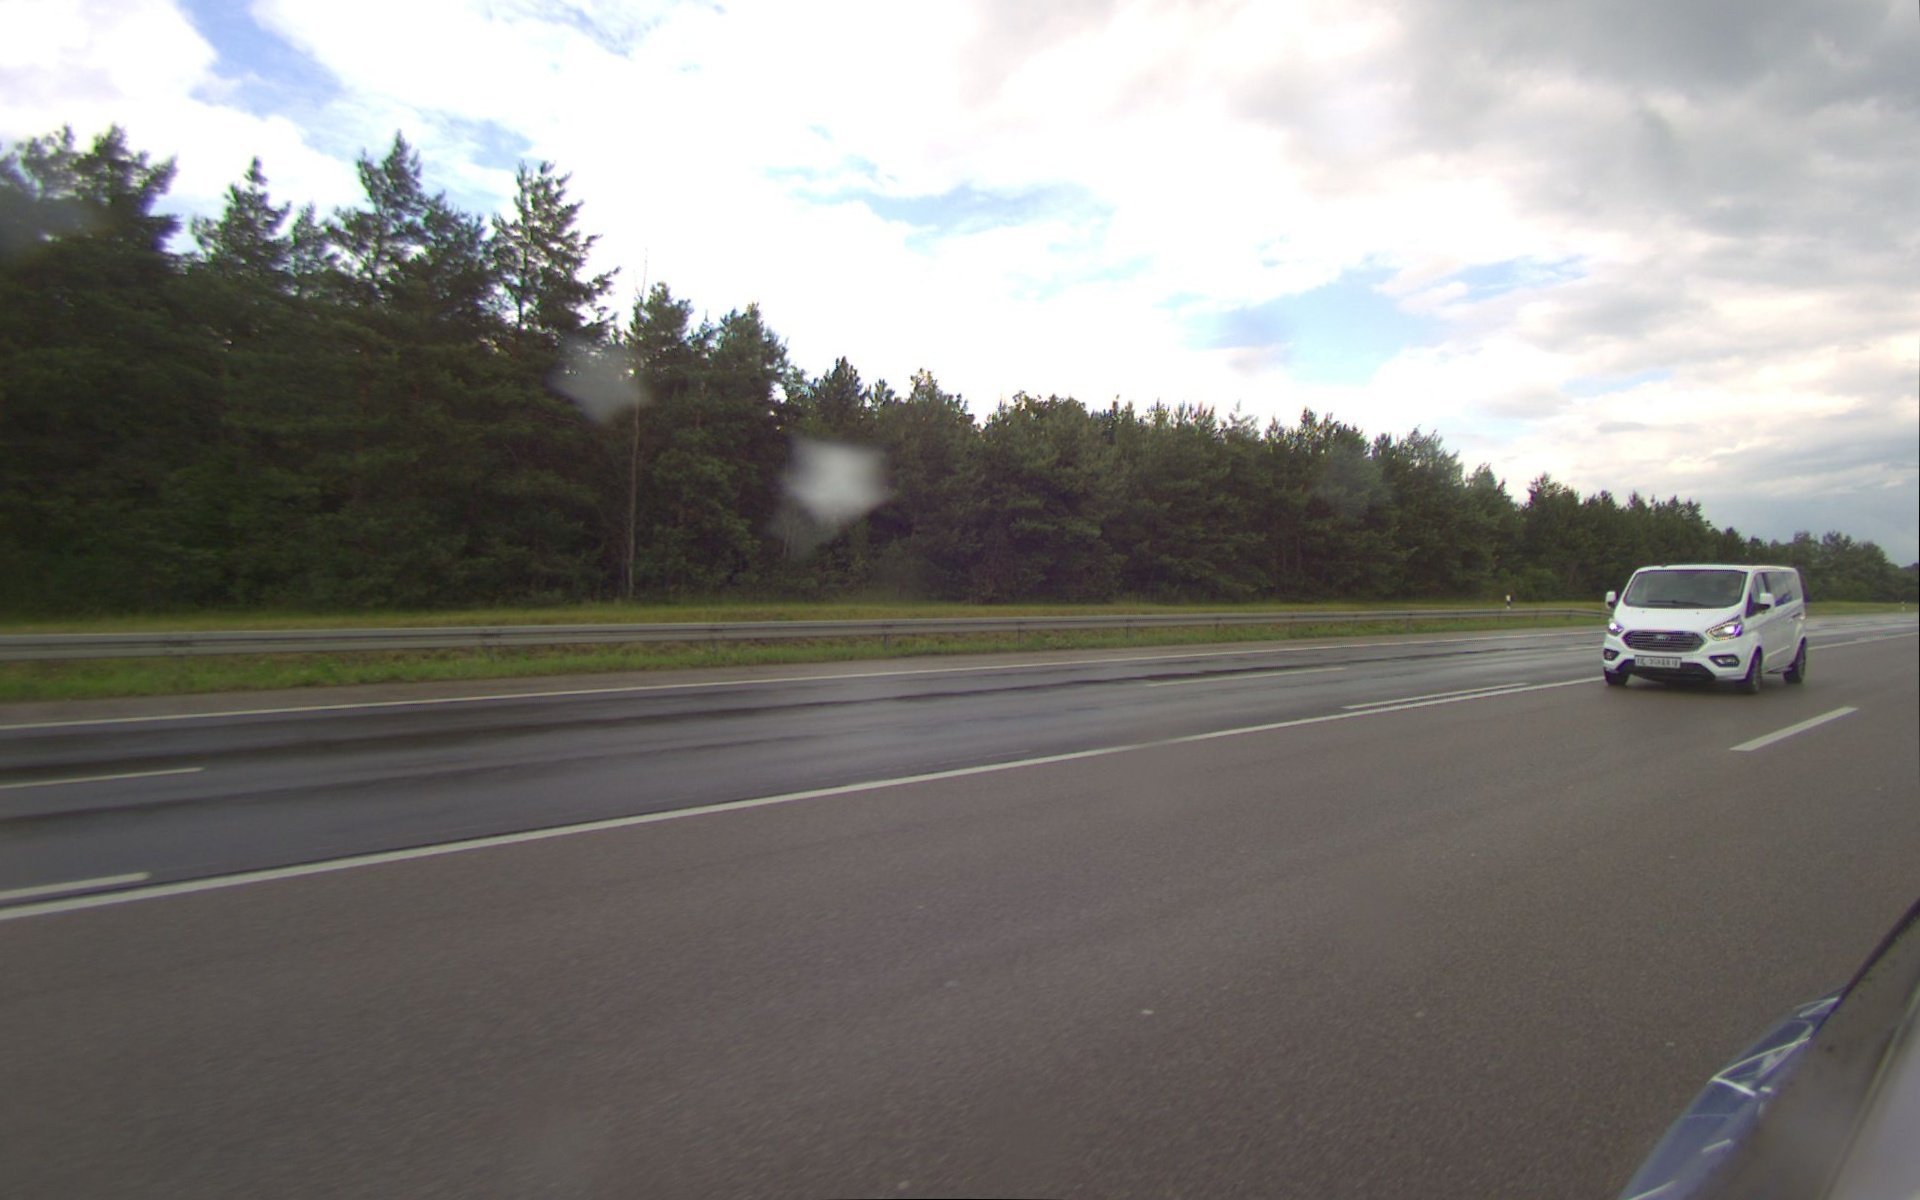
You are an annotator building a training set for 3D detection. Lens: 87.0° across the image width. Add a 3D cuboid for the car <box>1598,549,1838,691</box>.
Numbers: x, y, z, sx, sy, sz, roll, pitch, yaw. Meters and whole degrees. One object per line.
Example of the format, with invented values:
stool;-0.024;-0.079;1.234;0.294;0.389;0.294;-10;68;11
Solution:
car;12.819;0.268;16.959;5.384;2.039;1.998;0;0;-39
